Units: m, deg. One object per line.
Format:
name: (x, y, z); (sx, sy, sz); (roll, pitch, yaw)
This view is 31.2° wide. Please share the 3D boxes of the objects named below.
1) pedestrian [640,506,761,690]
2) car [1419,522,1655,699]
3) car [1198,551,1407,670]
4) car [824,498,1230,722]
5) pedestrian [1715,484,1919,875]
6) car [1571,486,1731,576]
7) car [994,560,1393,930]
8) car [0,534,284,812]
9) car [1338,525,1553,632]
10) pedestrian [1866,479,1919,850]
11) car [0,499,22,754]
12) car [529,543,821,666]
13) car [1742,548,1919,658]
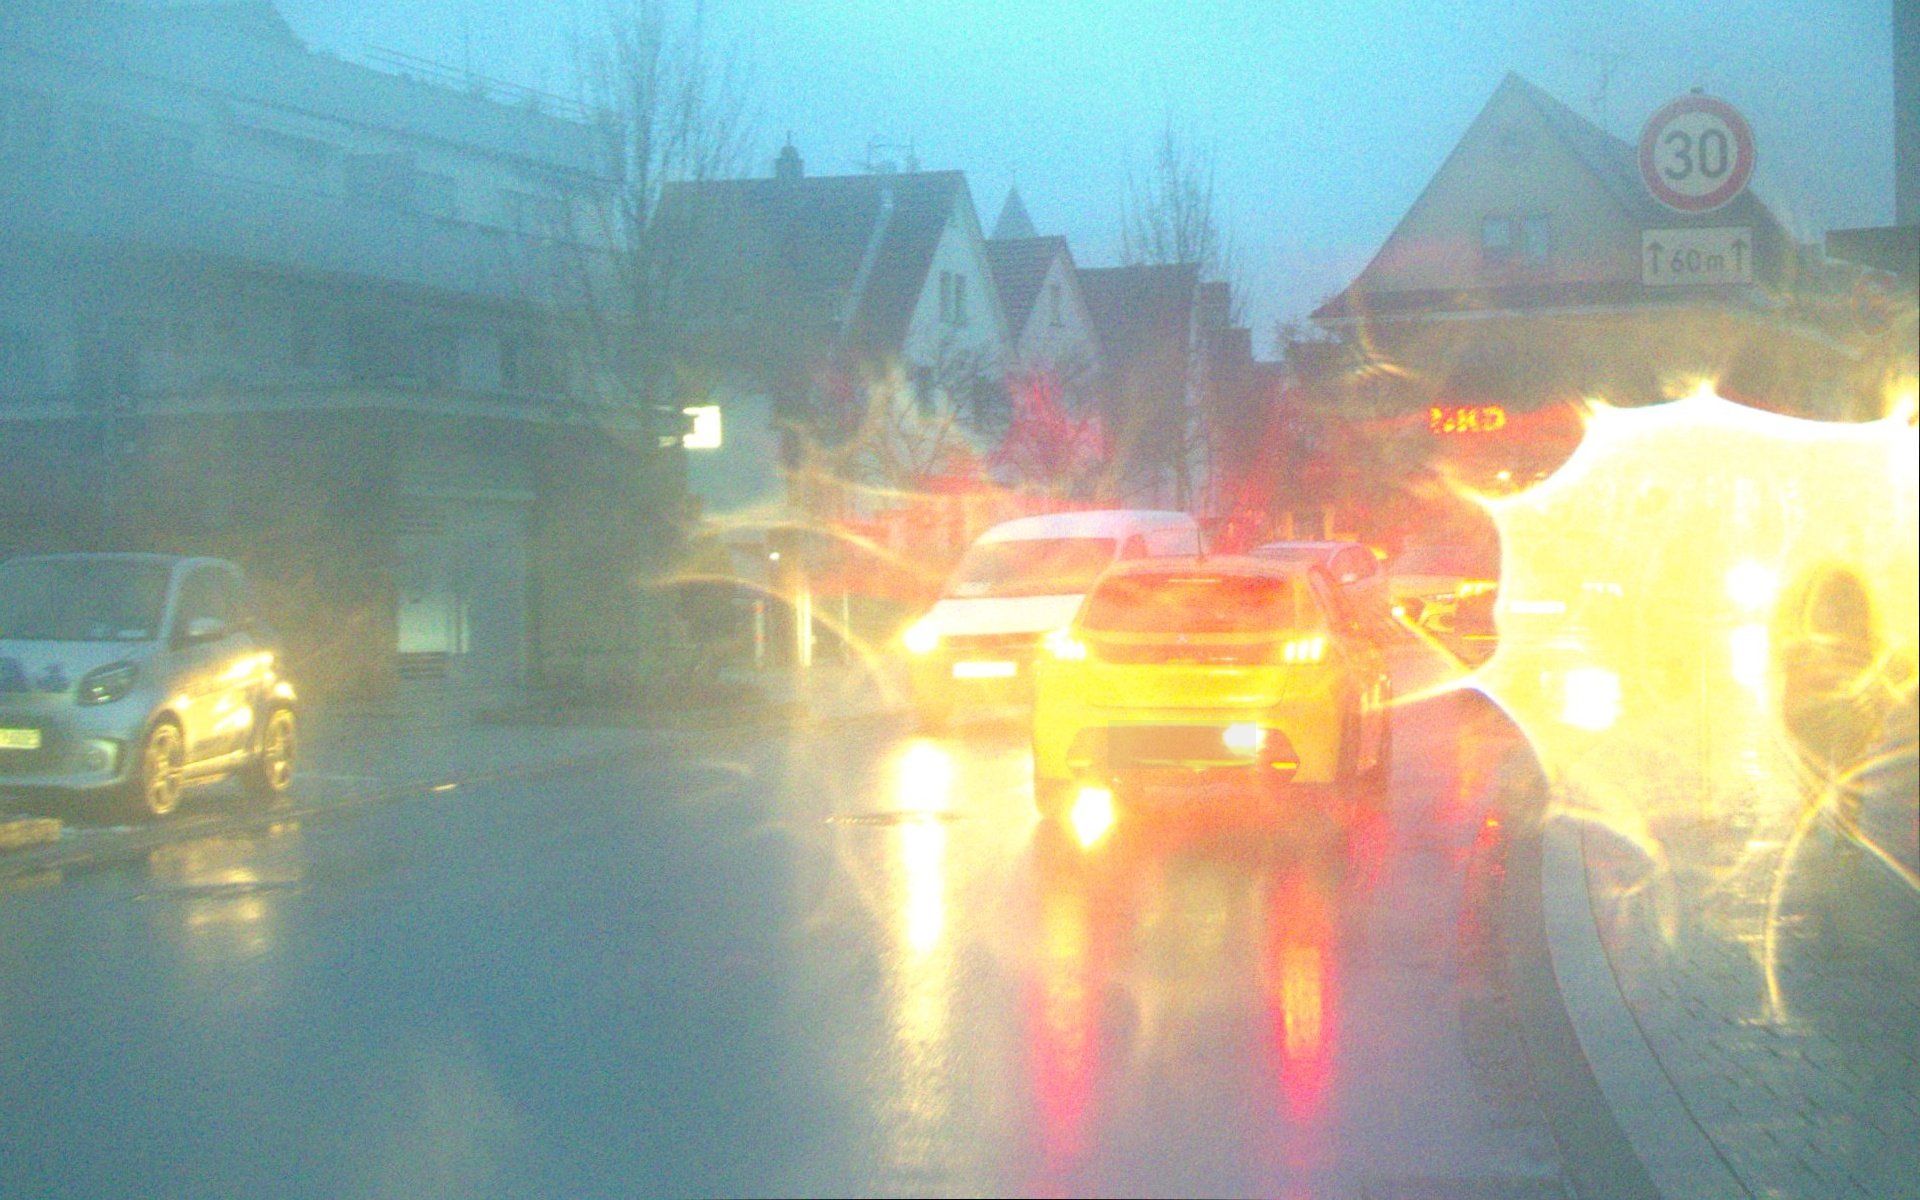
pedestrian: (-2.667, -0.031, 35.418); (0.755, 1.860, 1.059); (-1, 1, 28)
car: (5.800, 0.064, 34.224); (1.799, 1.656, 3.997); (0, 1, 17)
car: (4.727, 0.112, 47.066); (1.694, 1.511, 3.768); (1, 2, 25)
car: (0.702, 0.028, 30.314); (1.948, 1.744, 4.846); (-3, 1, 21)
pedestrian: (3.893, 0.342, 15.511); (0.713, 1.693, 0.804); (-2, 1, -3)
car: (12.162, -1.214, 60.367); (1.672, 1.511, 3.994); (2, 2, 28)
car: (1.439, 0.722, 19.871); (1.994, 1.789, 4.647); (-1, 1, 6)
car: (-5.207, 0.373, 20.876); (1.833, 1.530, 3.676); (0, 1, -6)
car: (7.319, -0.357, 51.534); (1.751, 1.511, 4.335); (1, 2, 29)
pedestrian: (4.559, 0.278, 15.648); (0.579, 1.663, 0.791); (-2, 1, -3)
car: (-9.667, 0.284, 26.600); (5.393, 1.879, 2.069); (-2, 1, 43)
car: (-3.744, 0.079, 44.632); (1.734, 1.472, 4.087); (-3, 1, -39)
car: (12.125, 0.025, 47.718); (1.652, 1.437, 3.861); (-1, 1, 26)
